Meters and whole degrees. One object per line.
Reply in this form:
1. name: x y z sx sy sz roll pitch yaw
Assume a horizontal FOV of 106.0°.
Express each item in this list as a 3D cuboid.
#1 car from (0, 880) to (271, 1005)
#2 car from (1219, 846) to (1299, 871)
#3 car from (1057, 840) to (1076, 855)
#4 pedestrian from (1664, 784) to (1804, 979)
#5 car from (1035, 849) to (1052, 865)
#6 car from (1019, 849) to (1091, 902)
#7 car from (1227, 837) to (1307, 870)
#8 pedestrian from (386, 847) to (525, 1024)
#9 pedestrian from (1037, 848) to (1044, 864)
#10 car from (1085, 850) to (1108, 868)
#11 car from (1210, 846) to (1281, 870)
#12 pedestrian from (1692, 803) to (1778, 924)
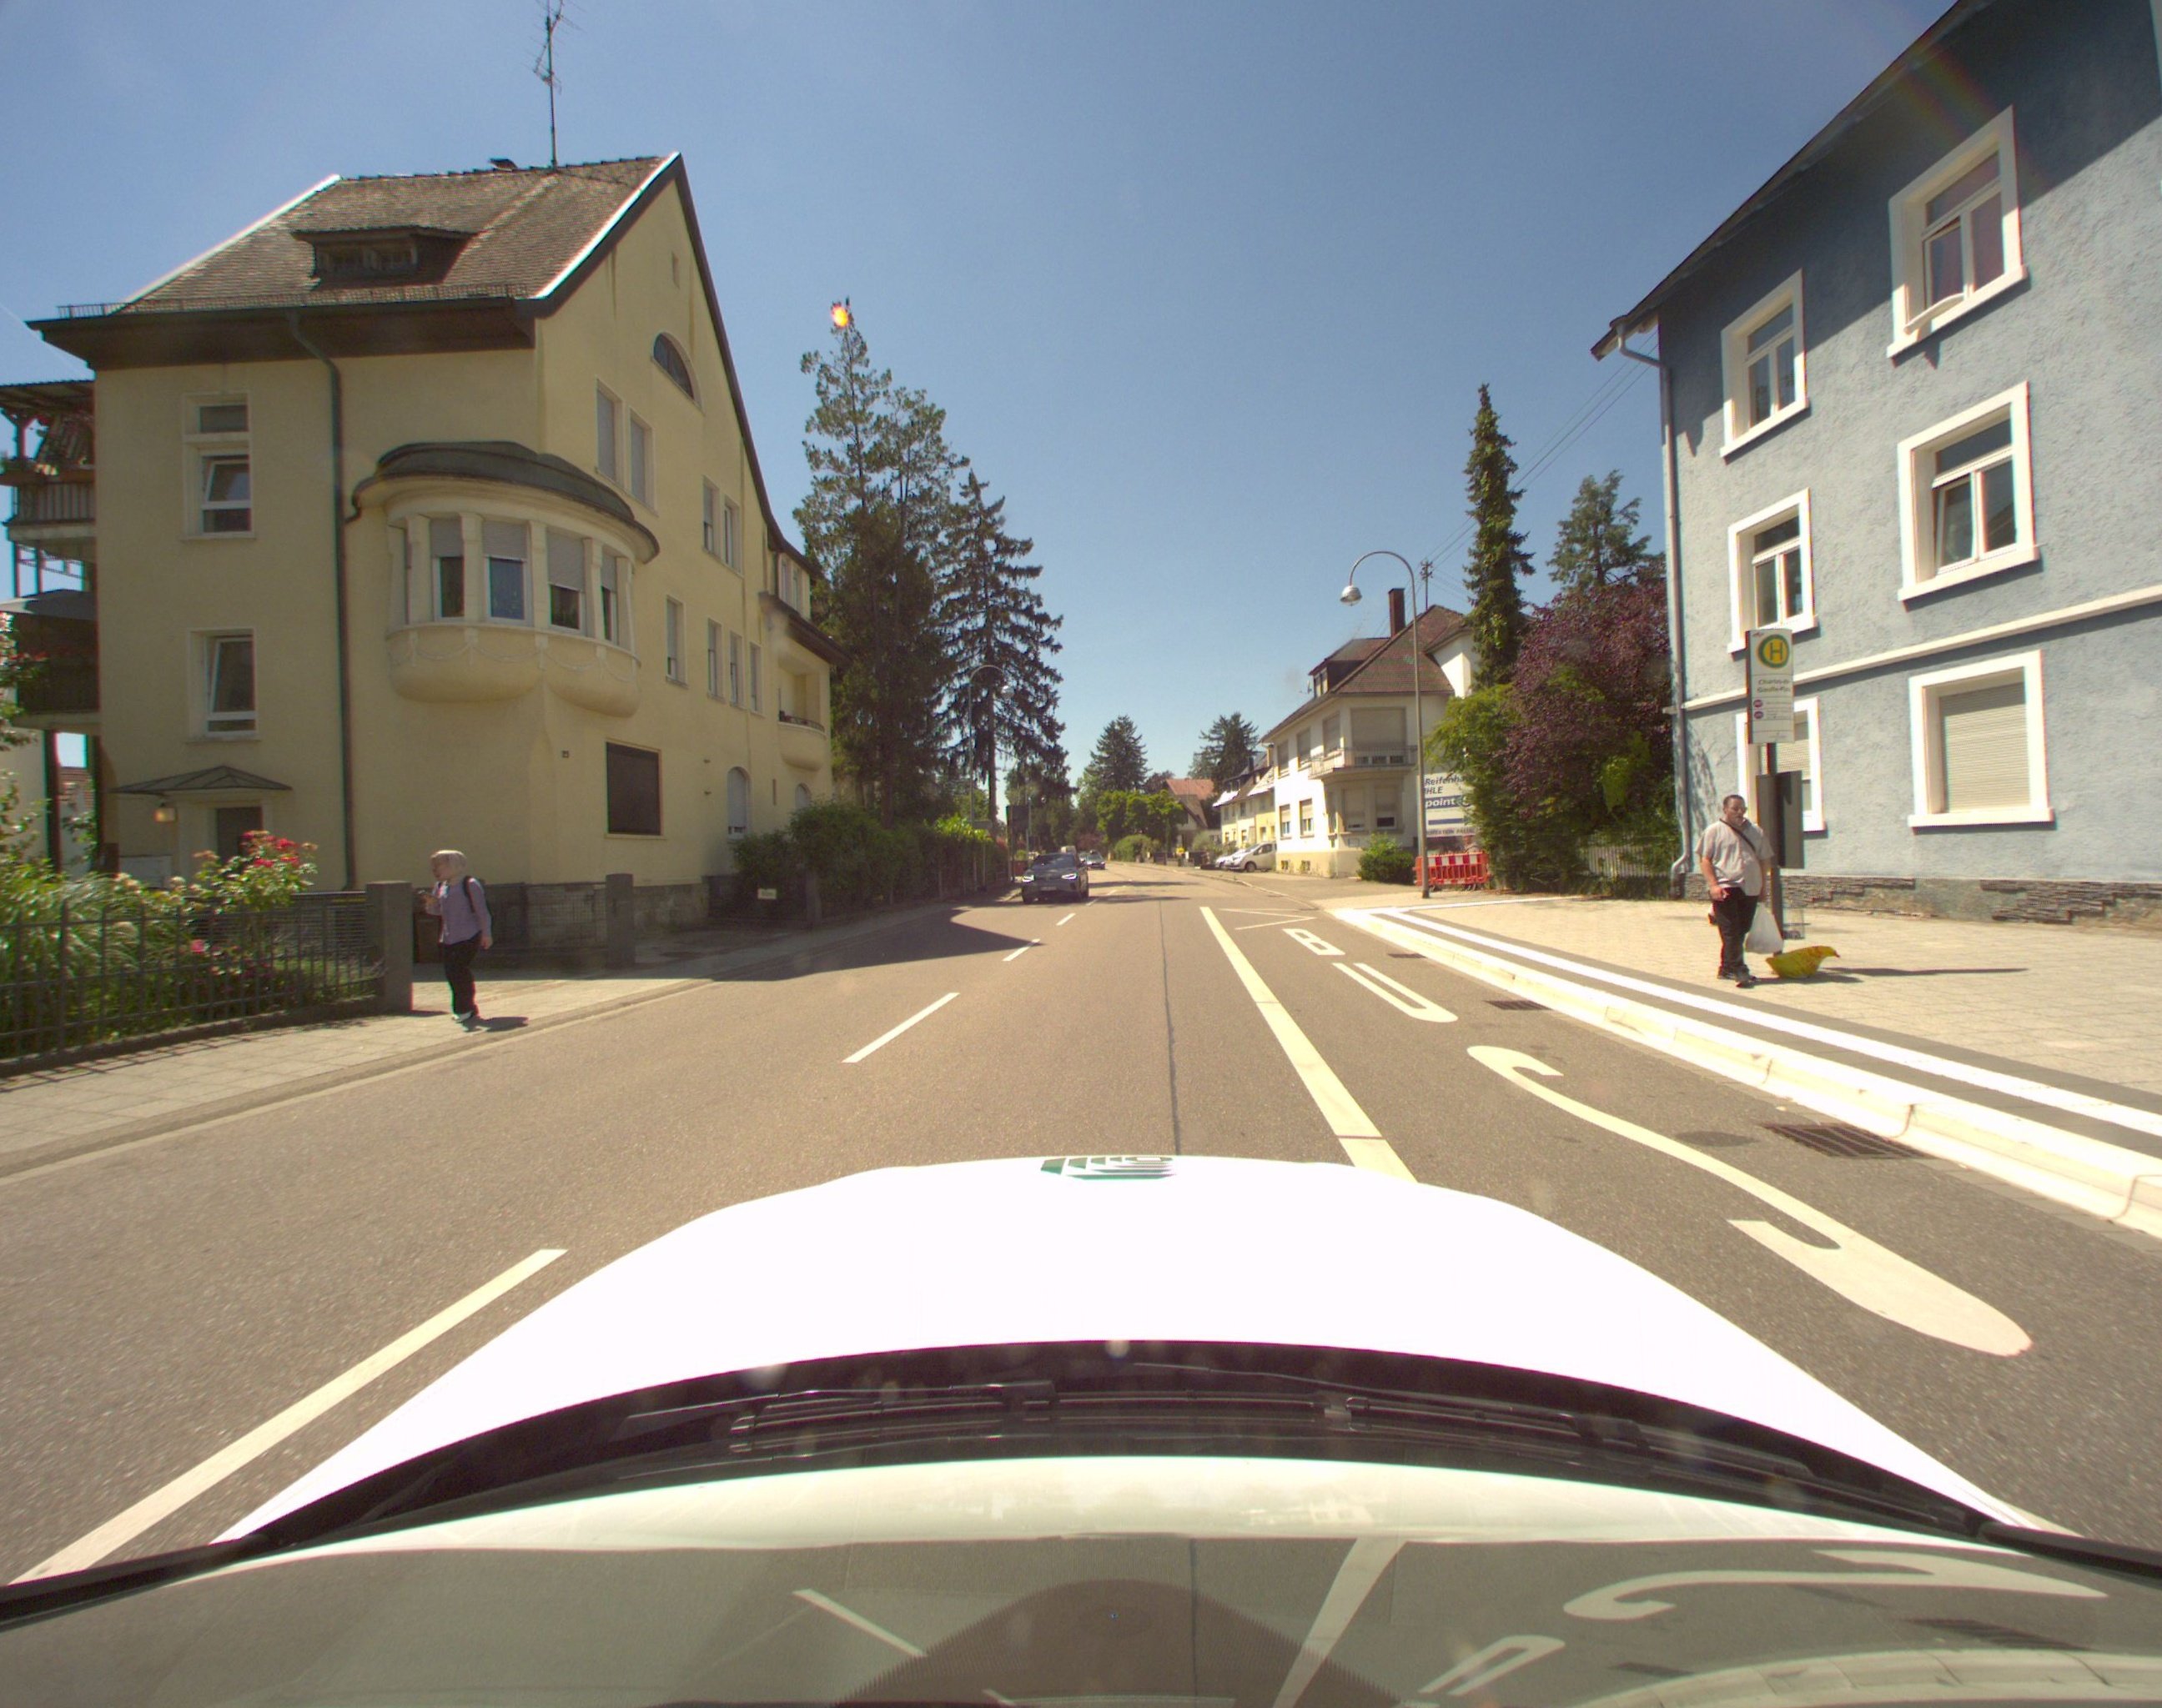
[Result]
1. car: -13.462 1.134 10.668 3.967 1.380 1.871 -2 0 5
2. car: 11.122 0.281 51.100 4.625 1.409 1.769 1 0 0
3. car: -2.294 -1.006 130.274 2.144 2.315 4.835 -3 1 -11
4. pedestrian: 6.470 0.261 8.108 0.613 1.805 0.749 -5 -1 -5
5. car: -4.502 0.323 97.104 1.720 1.736 3.880 -4 0 -5
6. car: -0.789 0.653 27.445 1.844 1.616 4.304 -1 0 6
7. car: 11.022 -0.016 48.355 4.289 1.831 1.734 1 0 -10
8. pedestrian: -5.909 0.733 7.737 0.610 1.564 0.825 2 0 3
9. pedestrian: -4.728 0.254 95.509 0.687 1.889 1.019 3 -1 1
10. car: 1.453 0.458 77.160 1.801 1.488 4.383 -3 0 -2
11. car: 10.875 0.244 53.875 4.249 1.548 1.767 0 -1 31
12. pedestrian: 9.242 0.129 11.536 0.609 1.616 0.754 -4 0 16
